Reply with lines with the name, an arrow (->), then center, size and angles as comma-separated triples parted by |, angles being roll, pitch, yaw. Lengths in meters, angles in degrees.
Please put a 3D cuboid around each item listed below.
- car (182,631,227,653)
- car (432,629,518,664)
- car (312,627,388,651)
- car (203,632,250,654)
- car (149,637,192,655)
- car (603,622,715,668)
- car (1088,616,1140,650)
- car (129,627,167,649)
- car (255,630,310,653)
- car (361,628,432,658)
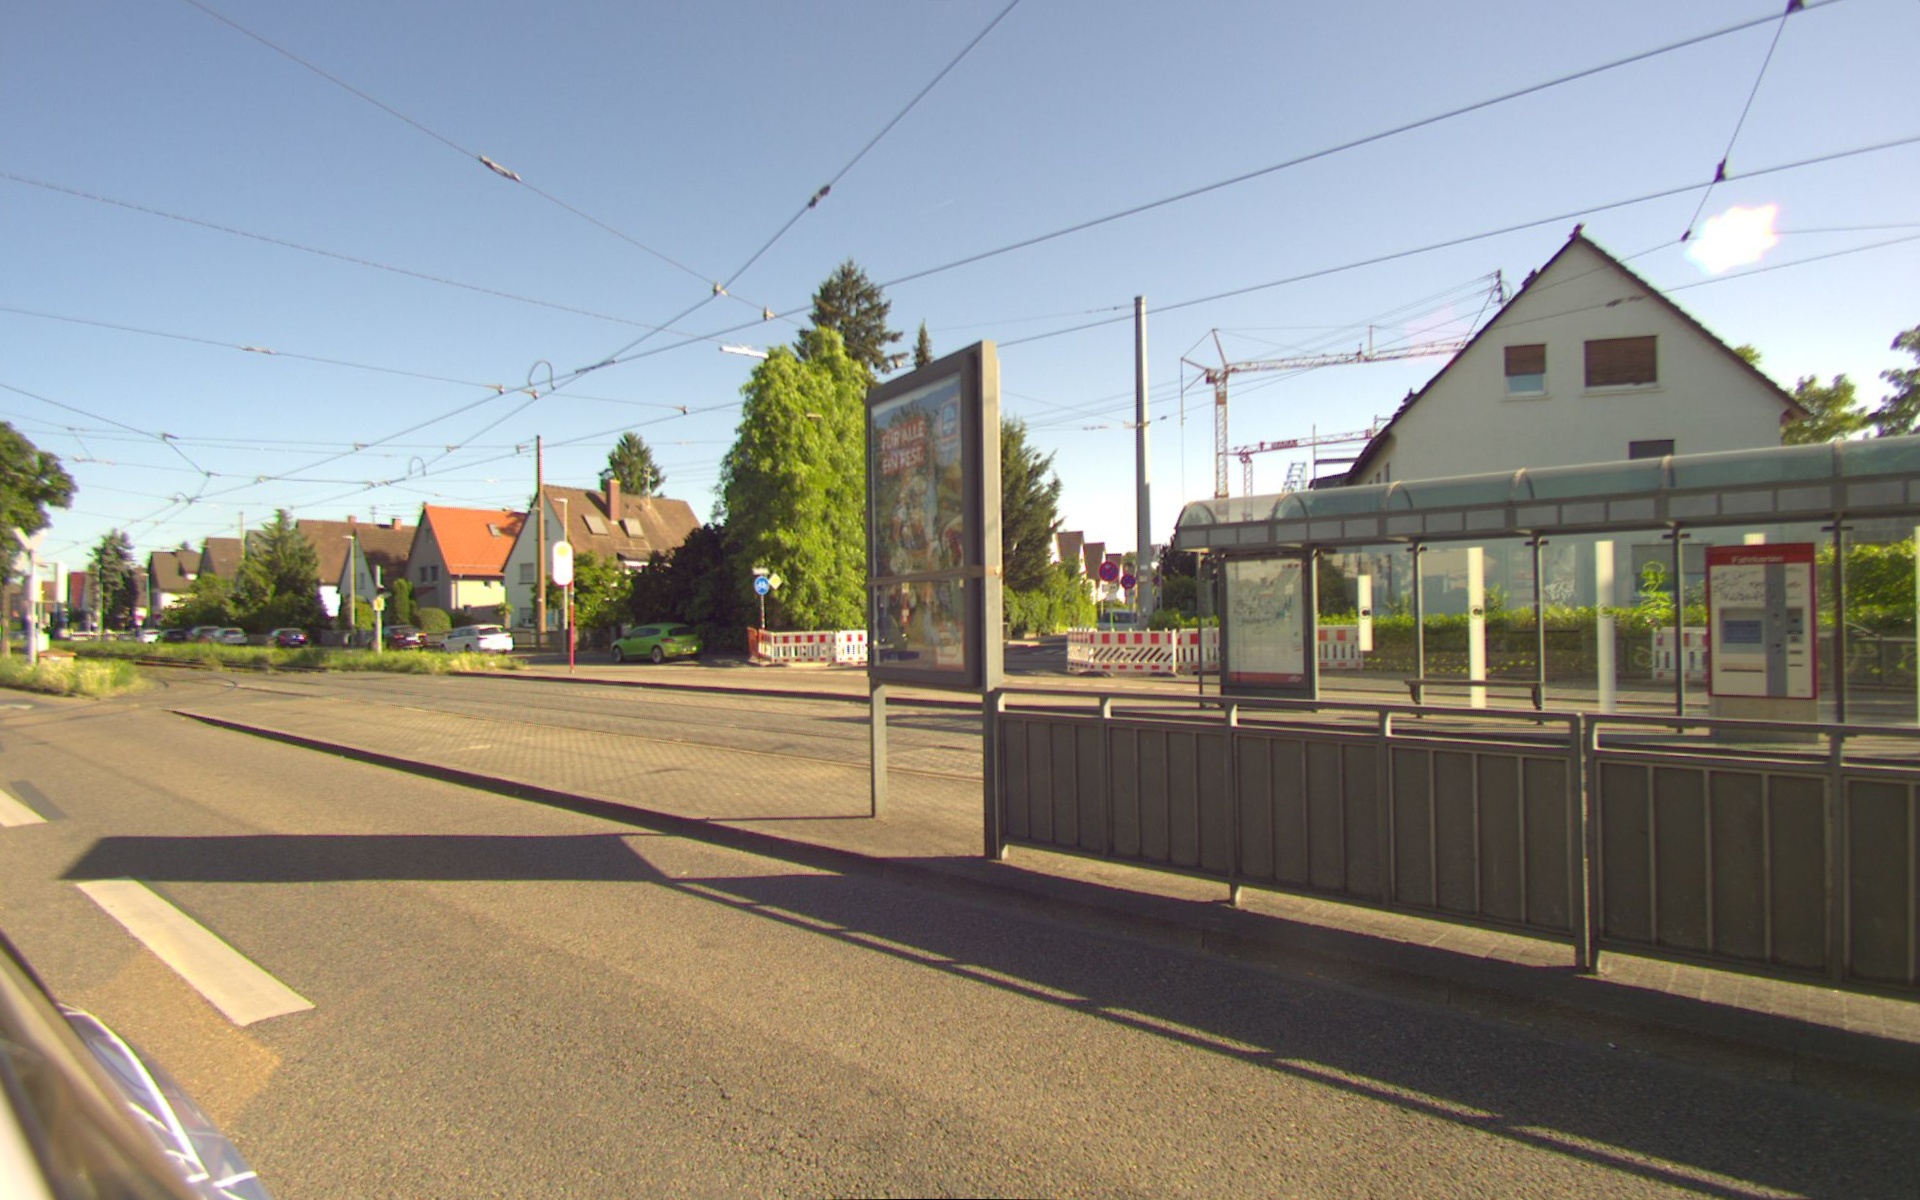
car -> -58.594, 3.259, 78.461 | 4.534, 1.572, 1.864 | -2, 0, 41
car -> -22.628, 2.127, 47.133 | 4.610, 1.483, 1.865 | -1, 0, 40
car -> -44.557, 2.839, 74.023 | 1.746, 1.481, 4.433 | -1, 1, 39
car -> -54.614, 3.199, 75.343 | 4.837, 1.483, 1.864 | -2, 0, 42
car -> -67.318, 3.872, 86.236 | 4.980, 1.351, 1.973 | -1, 0, 41
car -> -11.186, 1.637, 37.521 | 4.062, 1.512, 1.975 | -1, 0, 37
car -> 7.085, 1.478, 46.178 | 1.733, 1.418, 4.467 | -2, -1, 16
car -> -73.930, 3.466, 92.138 | 4.582, 1.877, 1.973 | -2, -1, 41
car -> -44.105, 2.672, 65.826 | 4.308, 1.382, 1.972 | -2, -1, 42
car -> -29.882, 2.254, 53.650 | 4.439, 1.477, 1.887 | -1, 0, 41
